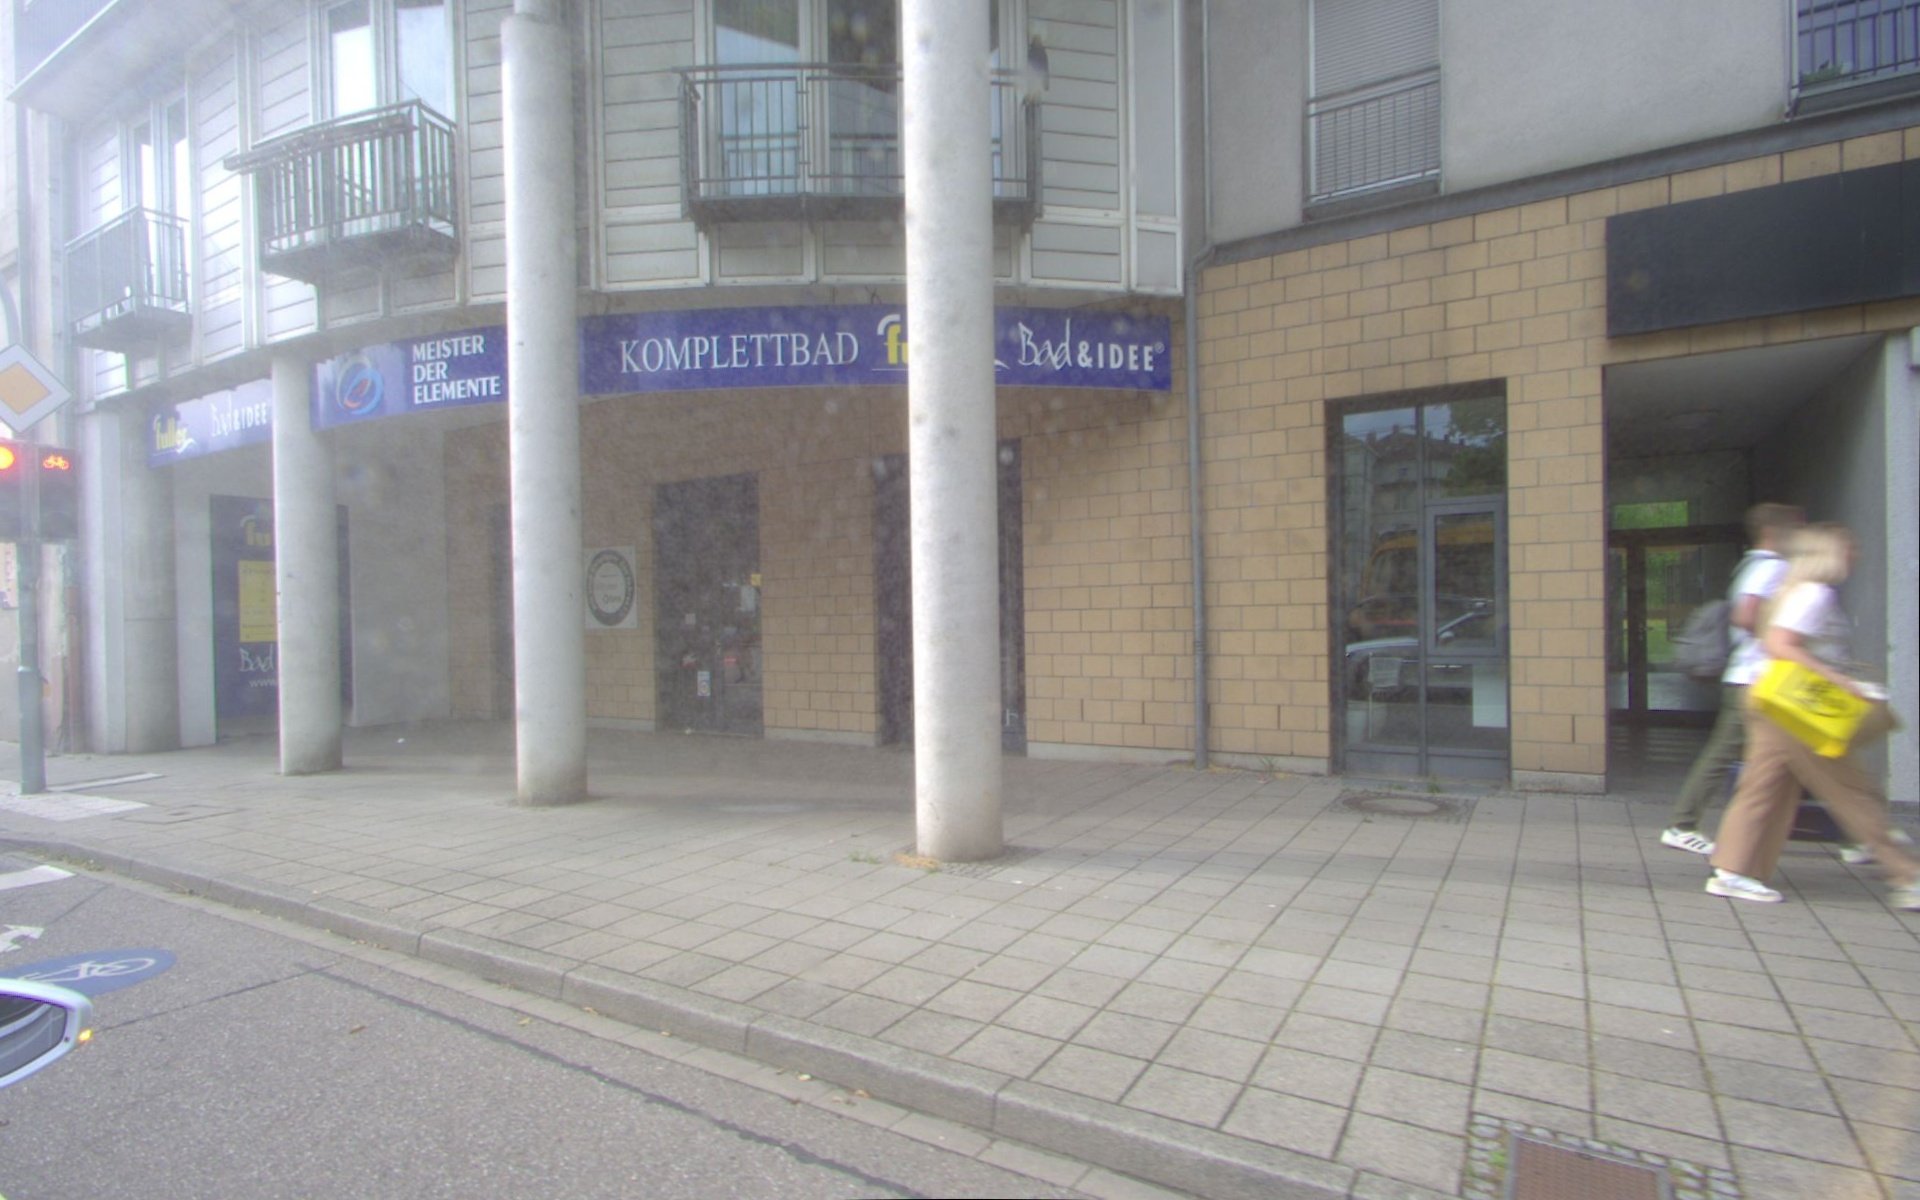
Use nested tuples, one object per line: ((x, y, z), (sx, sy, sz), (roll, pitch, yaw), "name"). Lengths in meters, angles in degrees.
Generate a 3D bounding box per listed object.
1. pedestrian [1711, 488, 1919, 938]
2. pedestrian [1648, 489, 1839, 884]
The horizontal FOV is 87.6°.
((3.841, 0.466, 4.467), (0.727, 1.829, 0.614), (-1, 1, 34), "pedestrian")
((4.134, 0.427, 5.339), (0.727, 1.915, 0.673), (-1, 1, 33), "pedestrian")
